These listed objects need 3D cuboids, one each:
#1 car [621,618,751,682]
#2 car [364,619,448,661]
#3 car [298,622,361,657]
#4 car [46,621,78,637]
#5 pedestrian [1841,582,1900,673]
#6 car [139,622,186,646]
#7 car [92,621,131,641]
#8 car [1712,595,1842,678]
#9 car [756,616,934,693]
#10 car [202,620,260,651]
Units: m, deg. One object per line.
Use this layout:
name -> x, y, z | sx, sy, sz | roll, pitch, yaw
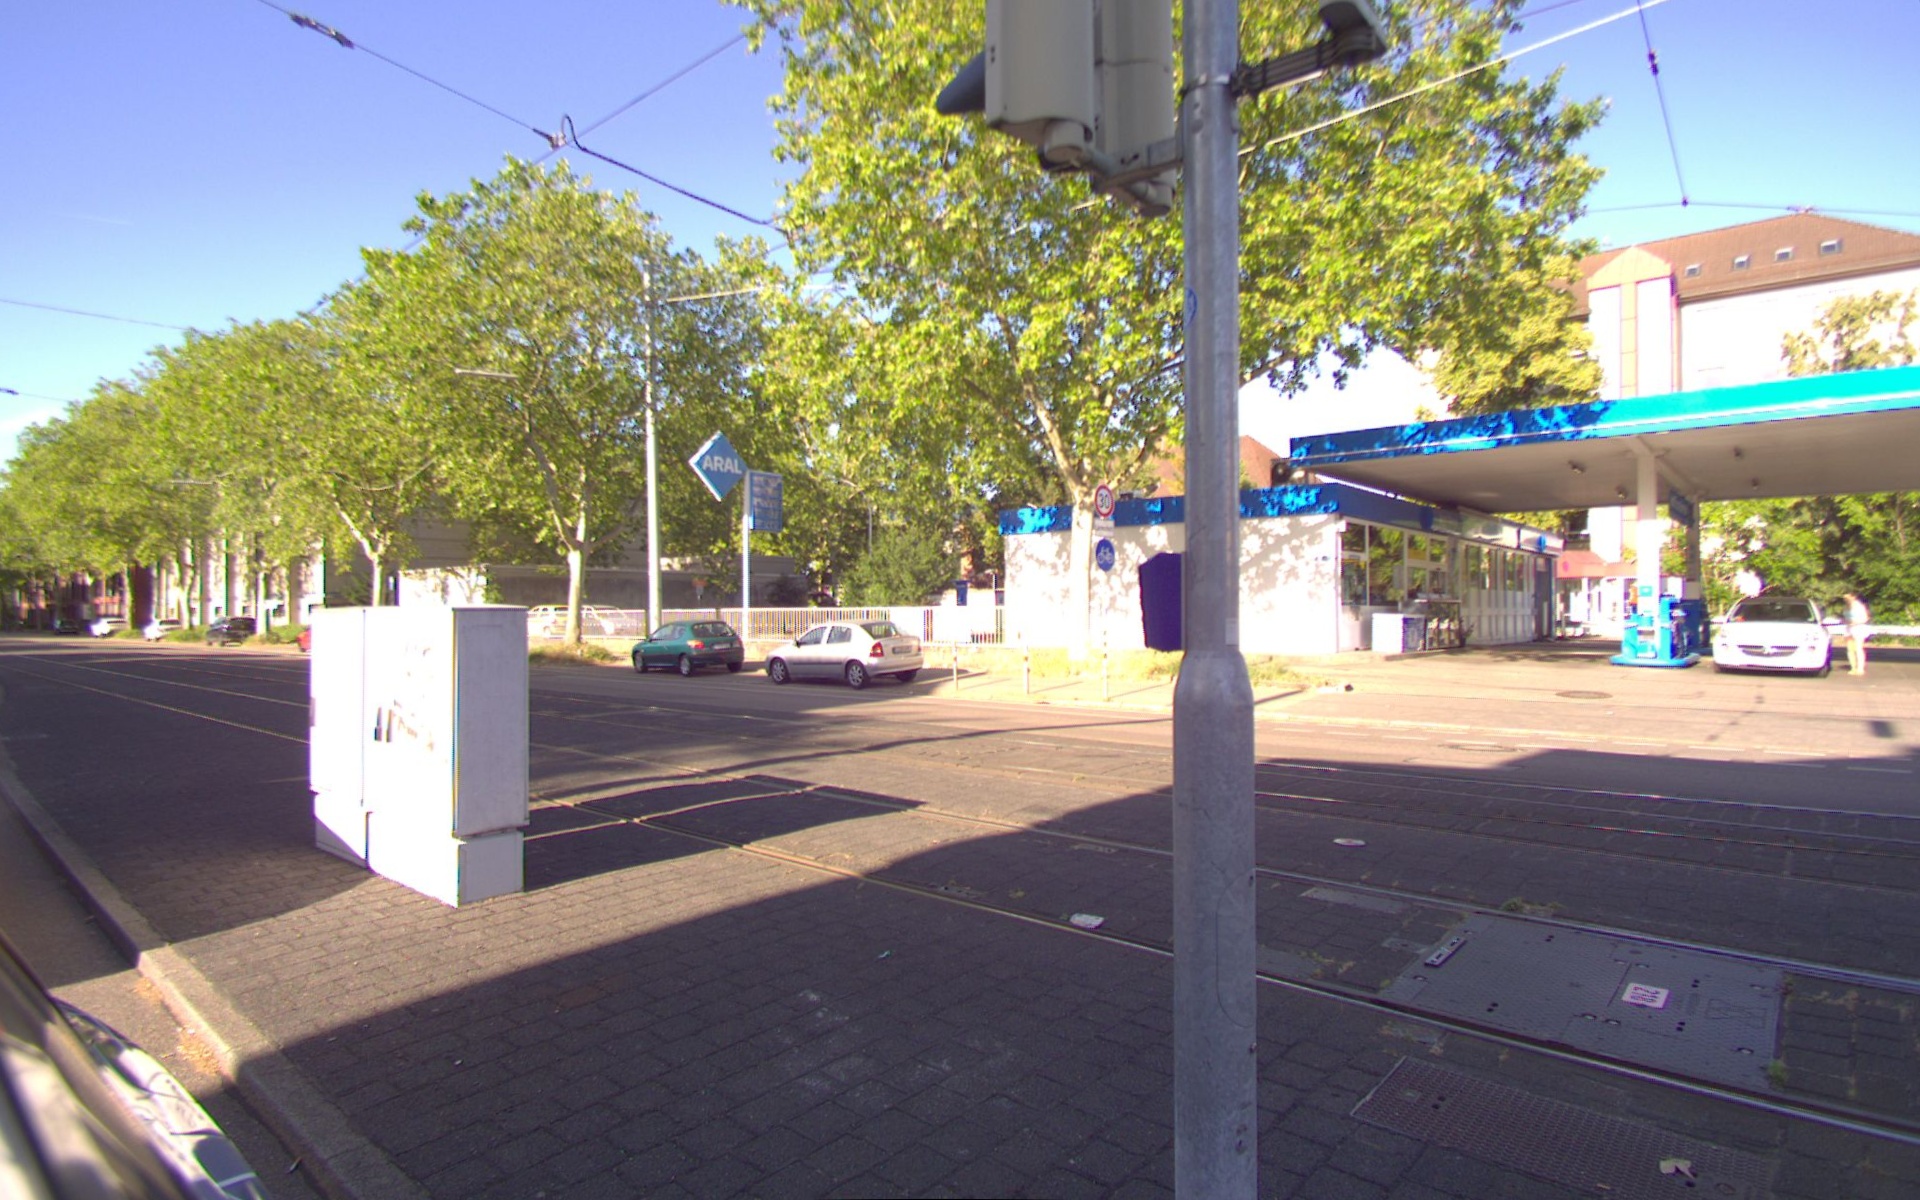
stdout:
car -> -7.330, 1.281, 26.926 | 3.519, 1.475, 1.670 | -1, 2, 43
car -> -21.944, 1.556, 40.045 | 3.652, 1.541, 1.802 | -1, -1, 41
car -> -28.558, 1.757, 45.792 | 3.045, 1.519, 1.620 | -1, -1, 41
car -> -85.329, 2.741, 96.108 | 3.998, 1.525, 1.779 | -1, -1, 41
pedestrian -> 17.478, 0.532, 19.446 | 0.760, 1.705, 0.579 | -1, -2, 37
car -> -53.724, 2.273, 68.155 | 3.998, 1.509, 1.779 | -1, -1, 41
car -> -66.688, 2.410, 79.521 | 3.998, 1.525, 1.779 | -1, -1, 41
car -> 16.025, 0.681, 19.903 | 1.812, 1.453, 3.947 | -1, -1, 39
car -> -2.632, 1.163, 22.656 | 3.965, 1.475, 1.771 | -1, 2, 43
car -> -40.758, 1.960, 56.583 | 3.998, 1.674, 1.779 | -1, -1, 41
